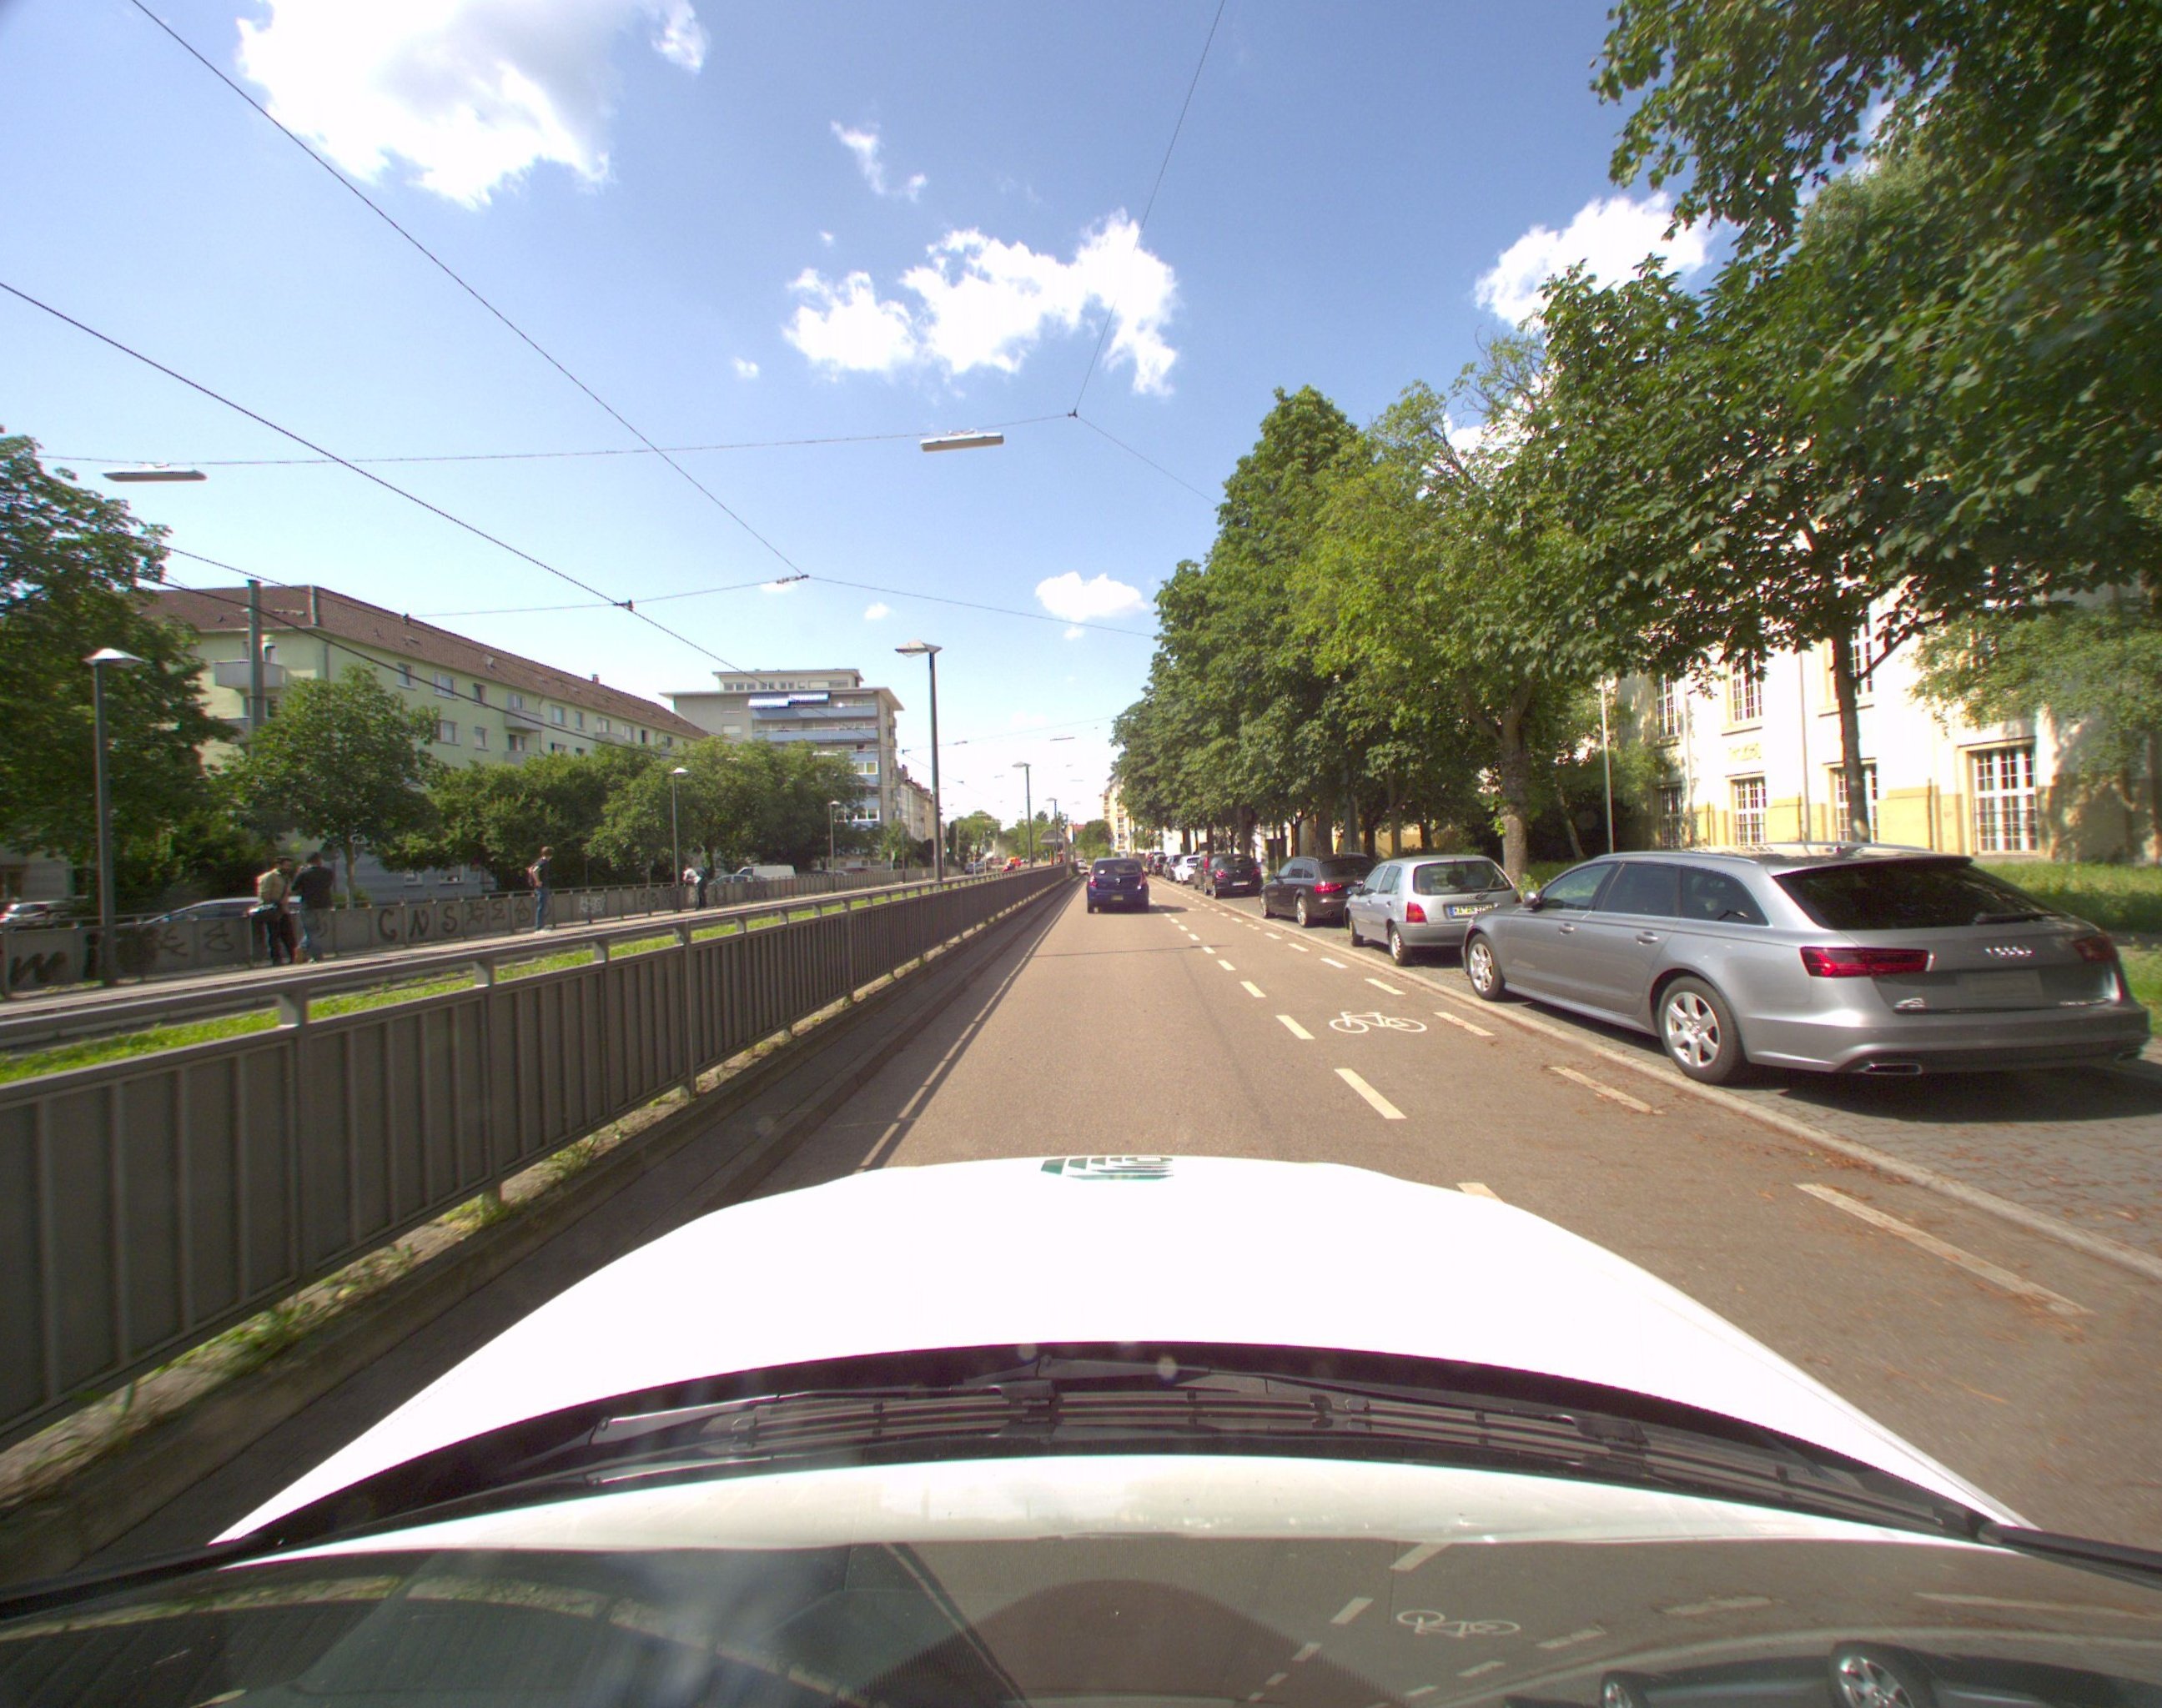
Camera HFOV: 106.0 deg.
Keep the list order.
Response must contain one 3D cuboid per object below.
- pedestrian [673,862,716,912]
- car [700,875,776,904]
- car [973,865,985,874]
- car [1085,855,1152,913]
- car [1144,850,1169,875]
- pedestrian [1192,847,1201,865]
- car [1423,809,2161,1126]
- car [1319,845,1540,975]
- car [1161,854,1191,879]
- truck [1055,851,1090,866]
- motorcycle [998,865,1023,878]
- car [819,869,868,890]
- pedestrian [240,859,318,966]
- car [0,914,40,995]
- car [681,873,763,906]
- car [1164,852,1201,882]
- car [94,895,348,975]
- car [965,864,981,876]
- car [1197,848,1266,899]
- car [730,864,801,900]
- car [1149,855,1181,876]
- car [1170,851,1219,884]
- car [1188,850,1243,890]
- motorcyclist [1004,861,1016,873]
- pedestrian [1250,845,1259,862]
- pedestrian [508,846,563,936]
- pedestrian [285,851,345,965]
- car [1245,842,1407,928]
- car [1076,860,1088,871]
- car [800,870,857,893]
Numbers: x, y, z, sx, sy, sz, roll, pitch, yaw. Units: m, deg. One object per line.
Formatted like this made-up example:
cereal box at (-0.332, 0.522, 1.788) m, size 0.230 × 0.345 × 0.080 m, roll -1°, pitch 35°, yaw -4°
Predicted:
pedestrian at (-12.702, 1.064, 26.791) m, size 0.985 × 1.578 × 0.798 m, roll -3°, pitch -1°, yaw -2°
car at (-20.881, 2.121, 49.642) m, size 4.014 × 1.485 × 1.593 m, roll -2°, pitch 0°, yaw -32°
car at (-16.778, 2.584, 134.612) m, size 1.765 × 1.442 × 3.994 m, roll -1°, pitch -1°, yaw -4°
car at (1.022, 0.835, 23.531) m, size 1.738 × 1.507 × 4.000 m, roll -1°, pitch -1°, yaw 1°
car at (6.360, 0.677, 68.716) m, size 1.815 × 1.896 × 4.187 m, roll -4°, pitch 0°, yaw 3°
pedestrian at (11.322, 0.204, 80.024) m, size 0.741 × 1.696 × 0.767 m, roll -3°, pitch -1°, yaw 2°
car at (4.766, 0.574, 6.659) m, size 1.822 × 1.441 × 5.051 m, roll -6°, pitch 0°, yaw 1°
car at (4.798, 0.673, 11.869) m, size 1.628 × 1.431 × 4.019 m, roll -5°, pitch 0°, yaw 4°
car at (6.334, 0.827, 54.349) m, size 1.585 × 1.445 × 3.599 m, roll -4°, pitch -1°, yaw 2°
truck at (-2.104, 1.096, 205.167) m, size 8.367 × 3.185 × 2.592 m, roll -5°, pitch -1°, yaw -14°
motorcycle at (-7.944, 2.002, 91.690) m, size 2.520 × 1.339 × 1.010 m, roll -3°, pitch -1°, yaw -24°
car at (-20.206, 2.177, 69.347) m, size 3.678 × 1.579 × 1.633 m, roll -2°, pitch 0°, yaw -30°
pedestrian at (-13.039, 0.929, 13.257) m, size 0.604 × 1.674 × 0.625 m, roll -2°, pitch -1°, yaw 1°
car at (-21.746, 1.941, 14.231) m, size 4.044 × 1.391 × 1.795 m, roll -2°, pitch 1°, yaw -39°
car at (-20.678, 2.003, 46.944) m, size 4.018 × 1.639 × 1.807 m, roll -2°, pitch 1°, yaw -36°
car at (6.056, 0.736, 48.941) m, size 1.718 × 1.583 × 4.679 m, roll -4°, pitch 0°, yaw 2°
car at (-21.514, 1.956, 20.677) m, size 4.174 × 1.565 × 1.904 m, roll -2°, pitch -1°, yaw -40°
car at (-15.712, 2.296, 118.660) m, size 1.989 × 1.645 × 3.996 m, roll -1°, pitch -1°, yaw -2°
car at (5.349, 0.664, 29.409) m, size 1.685 × 1.561 × 4.308 m, roll -5°, pitch -1°, yaw 1°
car at (-20.379, 1.783, 52.655) m, size 3.964 × 2.070 × 2.030 m, roll -2°, pitch 0°, yaw -30°
car at (6.516, 0.877, 63.352) m, size 1.911 × 1.442 × 4.796 m, roll -5°, pitch 0°, yaw 0°
car at (5.960, 0.722, 43.340) m, size 1.830 × 1.523 × 4.251 m, roll -5°, pitch 0°, yaw -1°
car at (5.639, 0.689, 34.603) m, size 1.551 × 1.461 × 3.556 m, roll -6°, pitch -1°, yaw -1°
motorcyclist at (-8.008, 1.494, 91.651) m, size 0.988 × 1.339 × 0.934 m, roll -3°, pitch -1°, yaw -25°
pedestrian at (16.289, -0.068, 76.538) m, size 0.629 × 1.596 × 0.539 m, roll -3°, pitch -1°, yaw -2°
pedestrian at (-11.859, 0.795, 17.710) m, size 0.747 × 1.892 × 0.639 m, roll -2°, pitch -3°, yaw 3°
pedestrian at (-12.293, 0.848, 13.063) m, size 0.601 × 1.754 × 0.629 m, roll -4°, pitch -2°, yaw 42°
car at (5.127, 0.641, 17.811) m, size 1.827 × 1.467 × 4.826 m, roll -5°, pitch -1°, yaw -2°
car at (0.099, 1.677, 118.755) m, size 1.618 × 1.465 × 3.506 m, roll -1°, pitch -1°, yaw -3°
car at (-19.928, 2.154, 64.257) m, size 4.039 × 1.514 × 1.594 m, roll -2°, pitch -1°, yaw -29°
